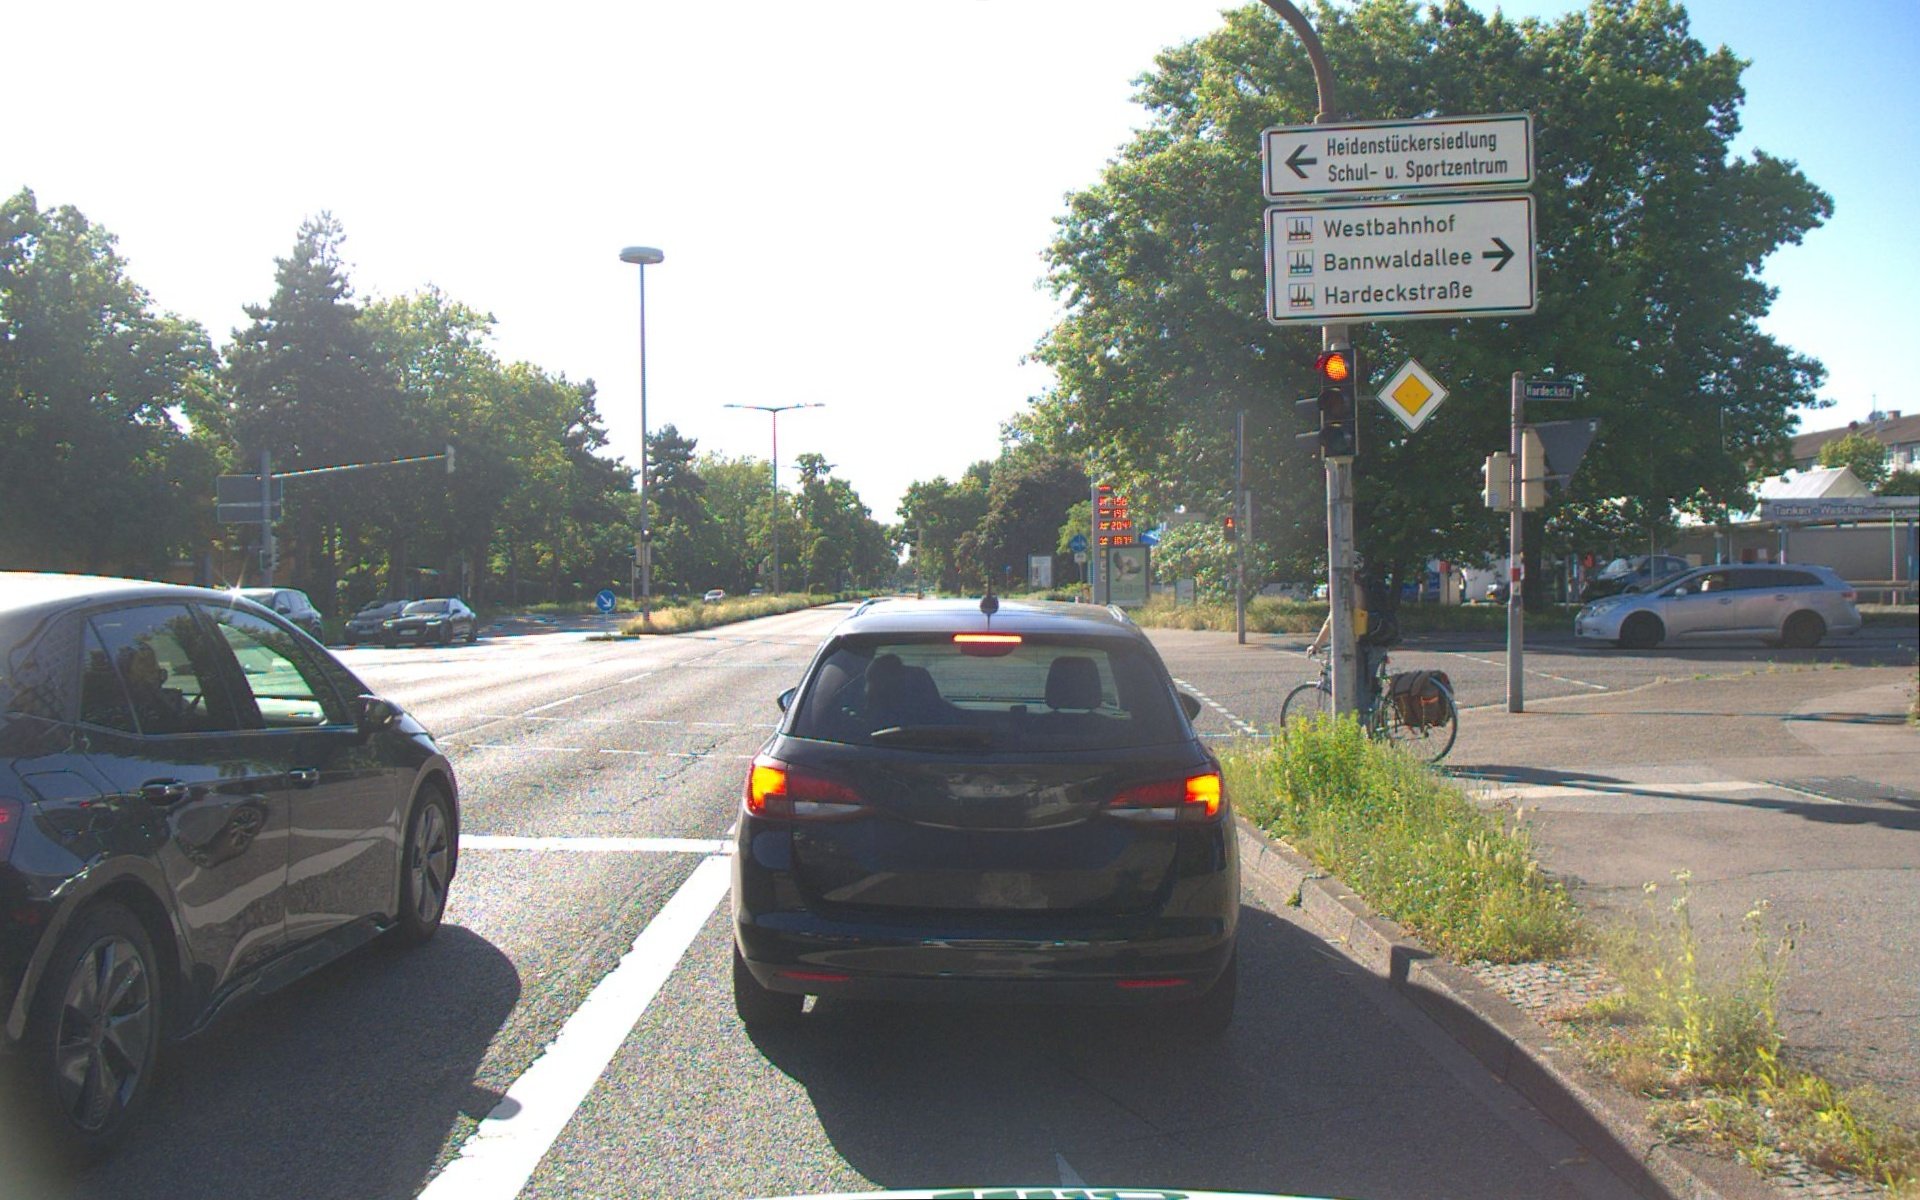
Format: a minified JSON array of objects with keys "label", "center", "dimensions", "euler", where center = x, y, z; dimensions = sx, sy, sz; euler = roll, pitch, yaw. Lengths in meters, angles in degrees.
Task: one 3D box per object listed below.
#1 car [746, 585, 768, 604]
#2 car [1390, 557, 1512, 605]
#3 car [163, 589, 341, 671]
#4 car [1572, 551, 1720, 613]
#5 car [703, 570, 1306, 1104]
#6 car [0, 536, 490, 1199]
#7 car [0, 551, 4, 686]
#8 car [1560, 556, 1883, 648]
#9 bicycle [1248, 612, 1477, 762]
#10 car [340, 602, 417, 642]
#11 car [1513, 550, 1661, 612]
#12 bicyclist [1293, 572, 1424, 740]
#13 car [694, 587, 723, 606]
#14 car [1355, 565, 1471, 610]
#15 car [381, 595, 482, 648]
[{"label":"car","center":[-22.205,-0.596,180.980],"dimensions":[1.953,2.049,3.999],"euler":[-2,0,-1]},{"label":"car","center":[16.912,-0.650,56.991],"dimensions":[3.837,1.544,1.732],"euler":[-2,0,-24]},{"label":"car","center":[-15.503,0.608,36.504],"dimensions":[1.953,1.629,4.615],"euler":[-1,0,-1]},{"label":"car","center":[19.991,-0.533,48.202],"dimensions":[3.934,1.709,1.732],"euler":[-2,0,-24]},{"label":"car","center":[0.102,0.686,6.844],"dimensions":[1.721,1.521,4.206],"euler":[0,0,-1]},{"label":"car","center":[-2.998,0.660,5.612],"dimensions":[1.650,1.608,4.206],"euler":[0,0,-1]},{"label":"car","center":[-19.036,0.390,28.155],"dimensions":[2.057,2.536,6.003],"euler":[-1,0,-1]},{"label":"car","center":[13.540,0.032,29.710],"dimensions":[4.897,1.512,2.002],"euler":[-1,0,11]},{"label":"bicycle","center":[3.226,0.702,13.378],"dimensions":[0.533,1.117,1.748],"euler":[-2,-2,-44]},{"label":"car","center":[-19.848,0.733,56.568],"dimensions":[1.361,1.256,3.635],"euler":[-1,0,-1]},{"label":"car","center":[18.952,-0.579,50.014],"dimensions":[3.935,1.780,1.985],"euler":[-2,1,-24]},{"label":"bicyclist","center":[3.217,0.451,13.378],"dimensions":[0.534,1.299,0.816],"euler":[-2,-2,-44]},{"label":"car","center":[-22.418,-0.312,147.639],"dimensions":[1.953,1.556,3.999],"euler":[-2,0,-1]},{"label":"car","center":[16.435,-0.463,60.066],"dimensions":[3.837,1.544,1.732],"euler":[-2,0,-24]},{"label":"car","center":[-16.021,0.624,50.348],"dimensions":[1.740,1.488,4.164],"euler":[-1,0,-1]}]
